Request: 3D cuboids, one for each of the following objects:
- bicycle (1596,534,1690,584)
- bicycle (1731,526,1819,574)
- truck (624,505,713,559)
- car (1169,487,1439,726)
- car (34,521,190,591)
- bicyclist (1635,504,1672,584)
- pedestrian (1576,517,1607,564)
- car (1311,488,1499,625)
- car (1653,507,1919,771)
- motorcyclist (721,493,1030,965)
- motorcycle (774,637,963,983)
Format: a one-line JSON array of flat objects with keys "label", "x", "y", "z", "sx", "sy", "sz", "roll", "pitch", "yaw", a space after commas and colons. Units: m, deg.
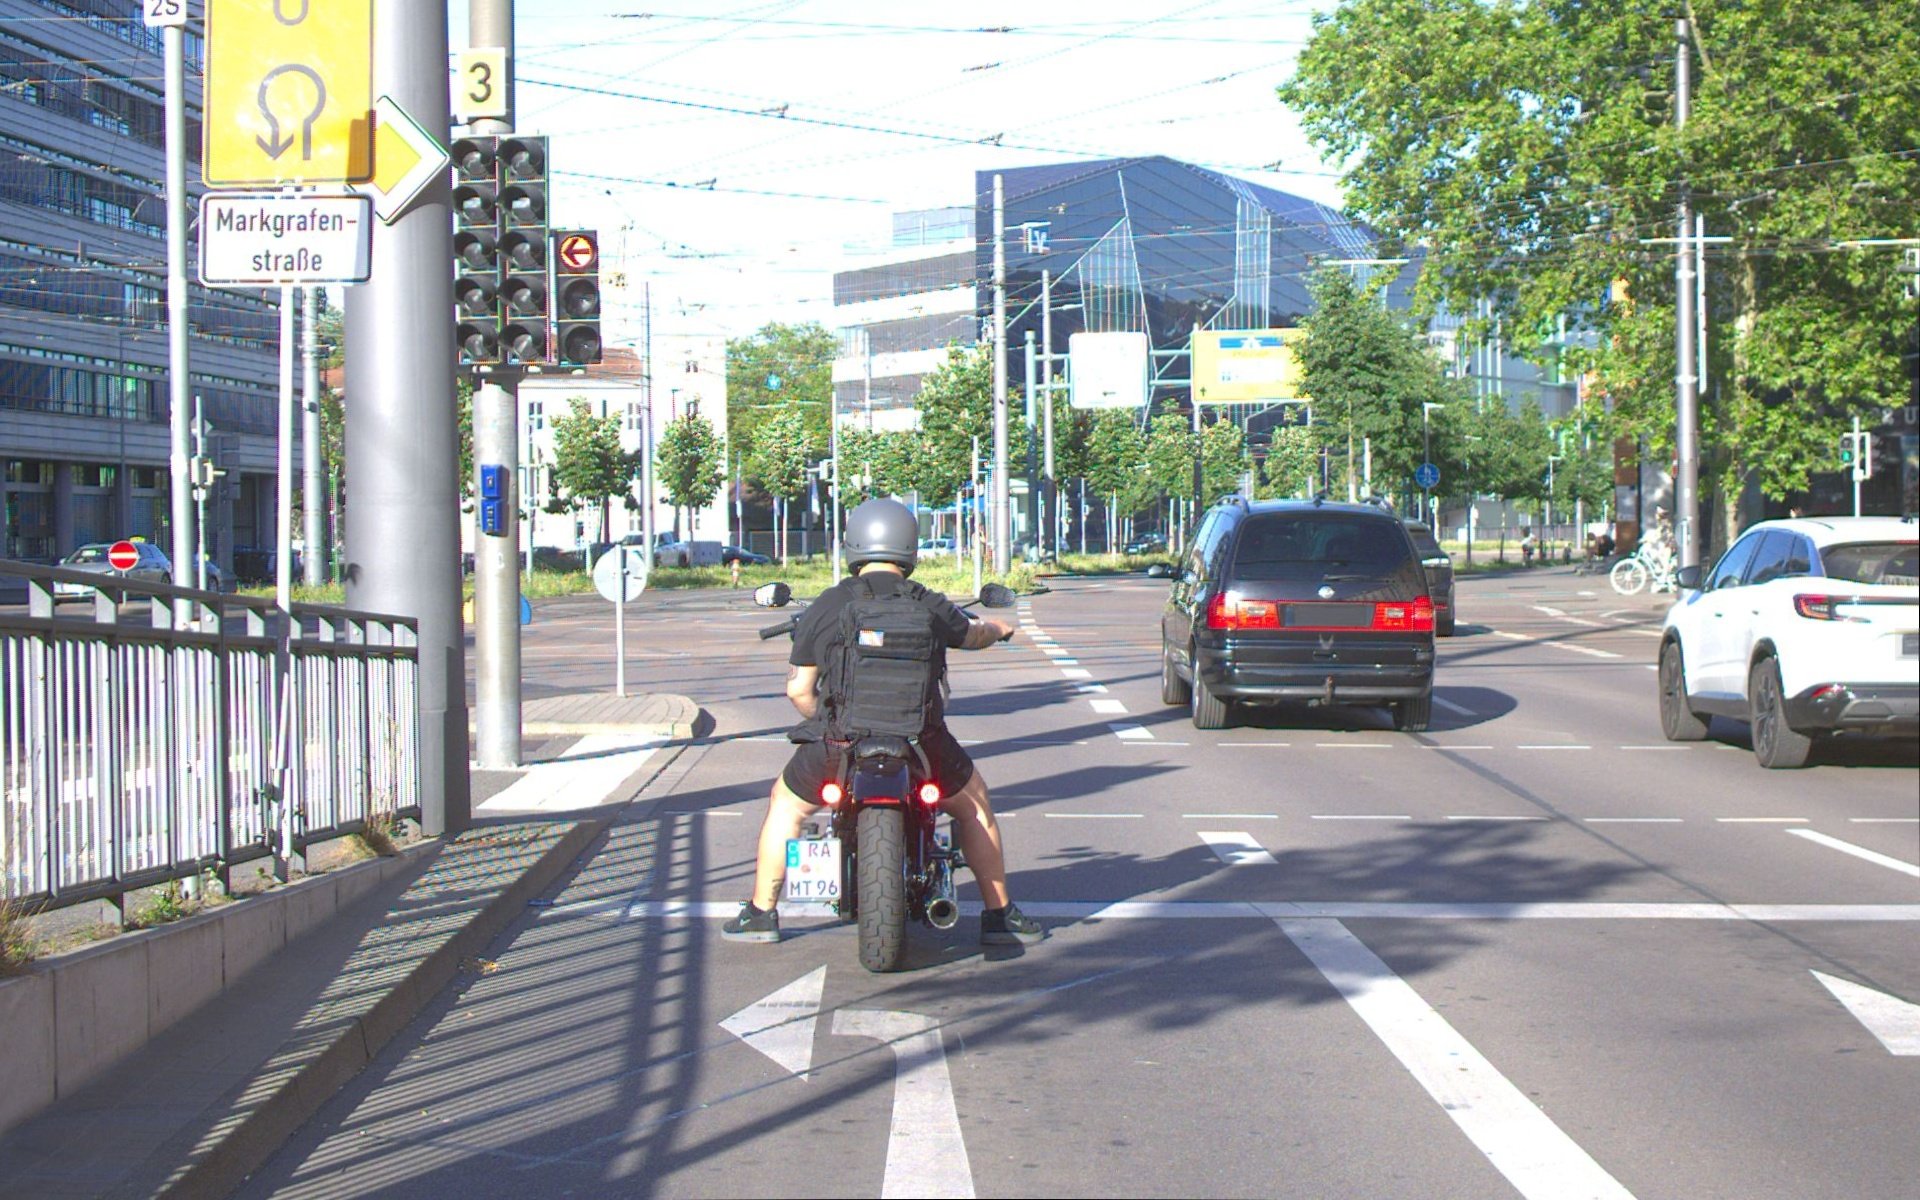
[{"label": "bicycle", "x": 14.303, "y": -0.854, "z": 71.955, "sx": 1.872, "sy": 1.040, "sz": 0.536, "roll": 0, "pitch": 0, "yaw": 19}, {"label": "bicycle", "x": 18.301, "y": -1.113, "z": 77.219, "sx": 1.880, "sy": 1.043, "sz": 0.360, "roll": 1, "pitch": 1, "yaw": -1}, {"label": "truck", "x": -10.845, "y": -2.510, "z": 128.339, "sx": 1.994, "sy": 1.873, "sz": 5.154, "roll": -3, "pitch": 0, "yaw": 10}, {"label": "car", "x": 2.568, "y": 0.029, "z": 26.509, "sx": 1.803, "sy": 1.672, "sz": 4.041, "roll": 1, "pitch": 0, "yaw": 2}, {"label": "car", "x": -19.922, "y": -1.053, "z": 80.980, "sx": 1.826, "sy": 1.563, "sz": 4.692, "roll": -1, "pitch": 1, "yaw": 10}, {"label": "bicyclist", "x": 14.484, "y": -1.168, "z": 71.824, "sx": 0.688, "sy": 1.667, "sz": 0.540, "roll": 0, "pitch": 0, "yaw": 19}, {"label": "pedestrian", "x": 17.896, "y": -1.677, "z": 97.478, "sx": 0.819, "sy": 1.309, "sz": 0.638, "roll": 1, "pitch": 0, "yaw": 9}, {"label": "car", "x": 5.741, "y": -0.560, "z": 44.772, "sx": 1.803, "sy": 1.672, "sz": 4.041, "roll": 1, "pitch": 1, "yaw": -1}, {"label": "car", "x": 5.909, "y": 0.224, "z": 22.861, "sx": 1.731, "sy": 1.593, "sz": 4.041, "roll": 1, "pitch": 1, "yaw": 0}, {"label": "motorcyclist", "x": -0.289, "y": 0.425, "z": 12.034, "sx": 1.030, "sy": 1.588, "sz": 0.873, "roll": 0, "pitch": 1, "yaw": -1}, {"label": "motorcycle", "x": -0.309, "y": 0.695, "z": 12.263, "sx": 0.600, "sy": 1.032, "sz": 2.234, "roll": 1, "pitch": 2, "yaw": -1}]
